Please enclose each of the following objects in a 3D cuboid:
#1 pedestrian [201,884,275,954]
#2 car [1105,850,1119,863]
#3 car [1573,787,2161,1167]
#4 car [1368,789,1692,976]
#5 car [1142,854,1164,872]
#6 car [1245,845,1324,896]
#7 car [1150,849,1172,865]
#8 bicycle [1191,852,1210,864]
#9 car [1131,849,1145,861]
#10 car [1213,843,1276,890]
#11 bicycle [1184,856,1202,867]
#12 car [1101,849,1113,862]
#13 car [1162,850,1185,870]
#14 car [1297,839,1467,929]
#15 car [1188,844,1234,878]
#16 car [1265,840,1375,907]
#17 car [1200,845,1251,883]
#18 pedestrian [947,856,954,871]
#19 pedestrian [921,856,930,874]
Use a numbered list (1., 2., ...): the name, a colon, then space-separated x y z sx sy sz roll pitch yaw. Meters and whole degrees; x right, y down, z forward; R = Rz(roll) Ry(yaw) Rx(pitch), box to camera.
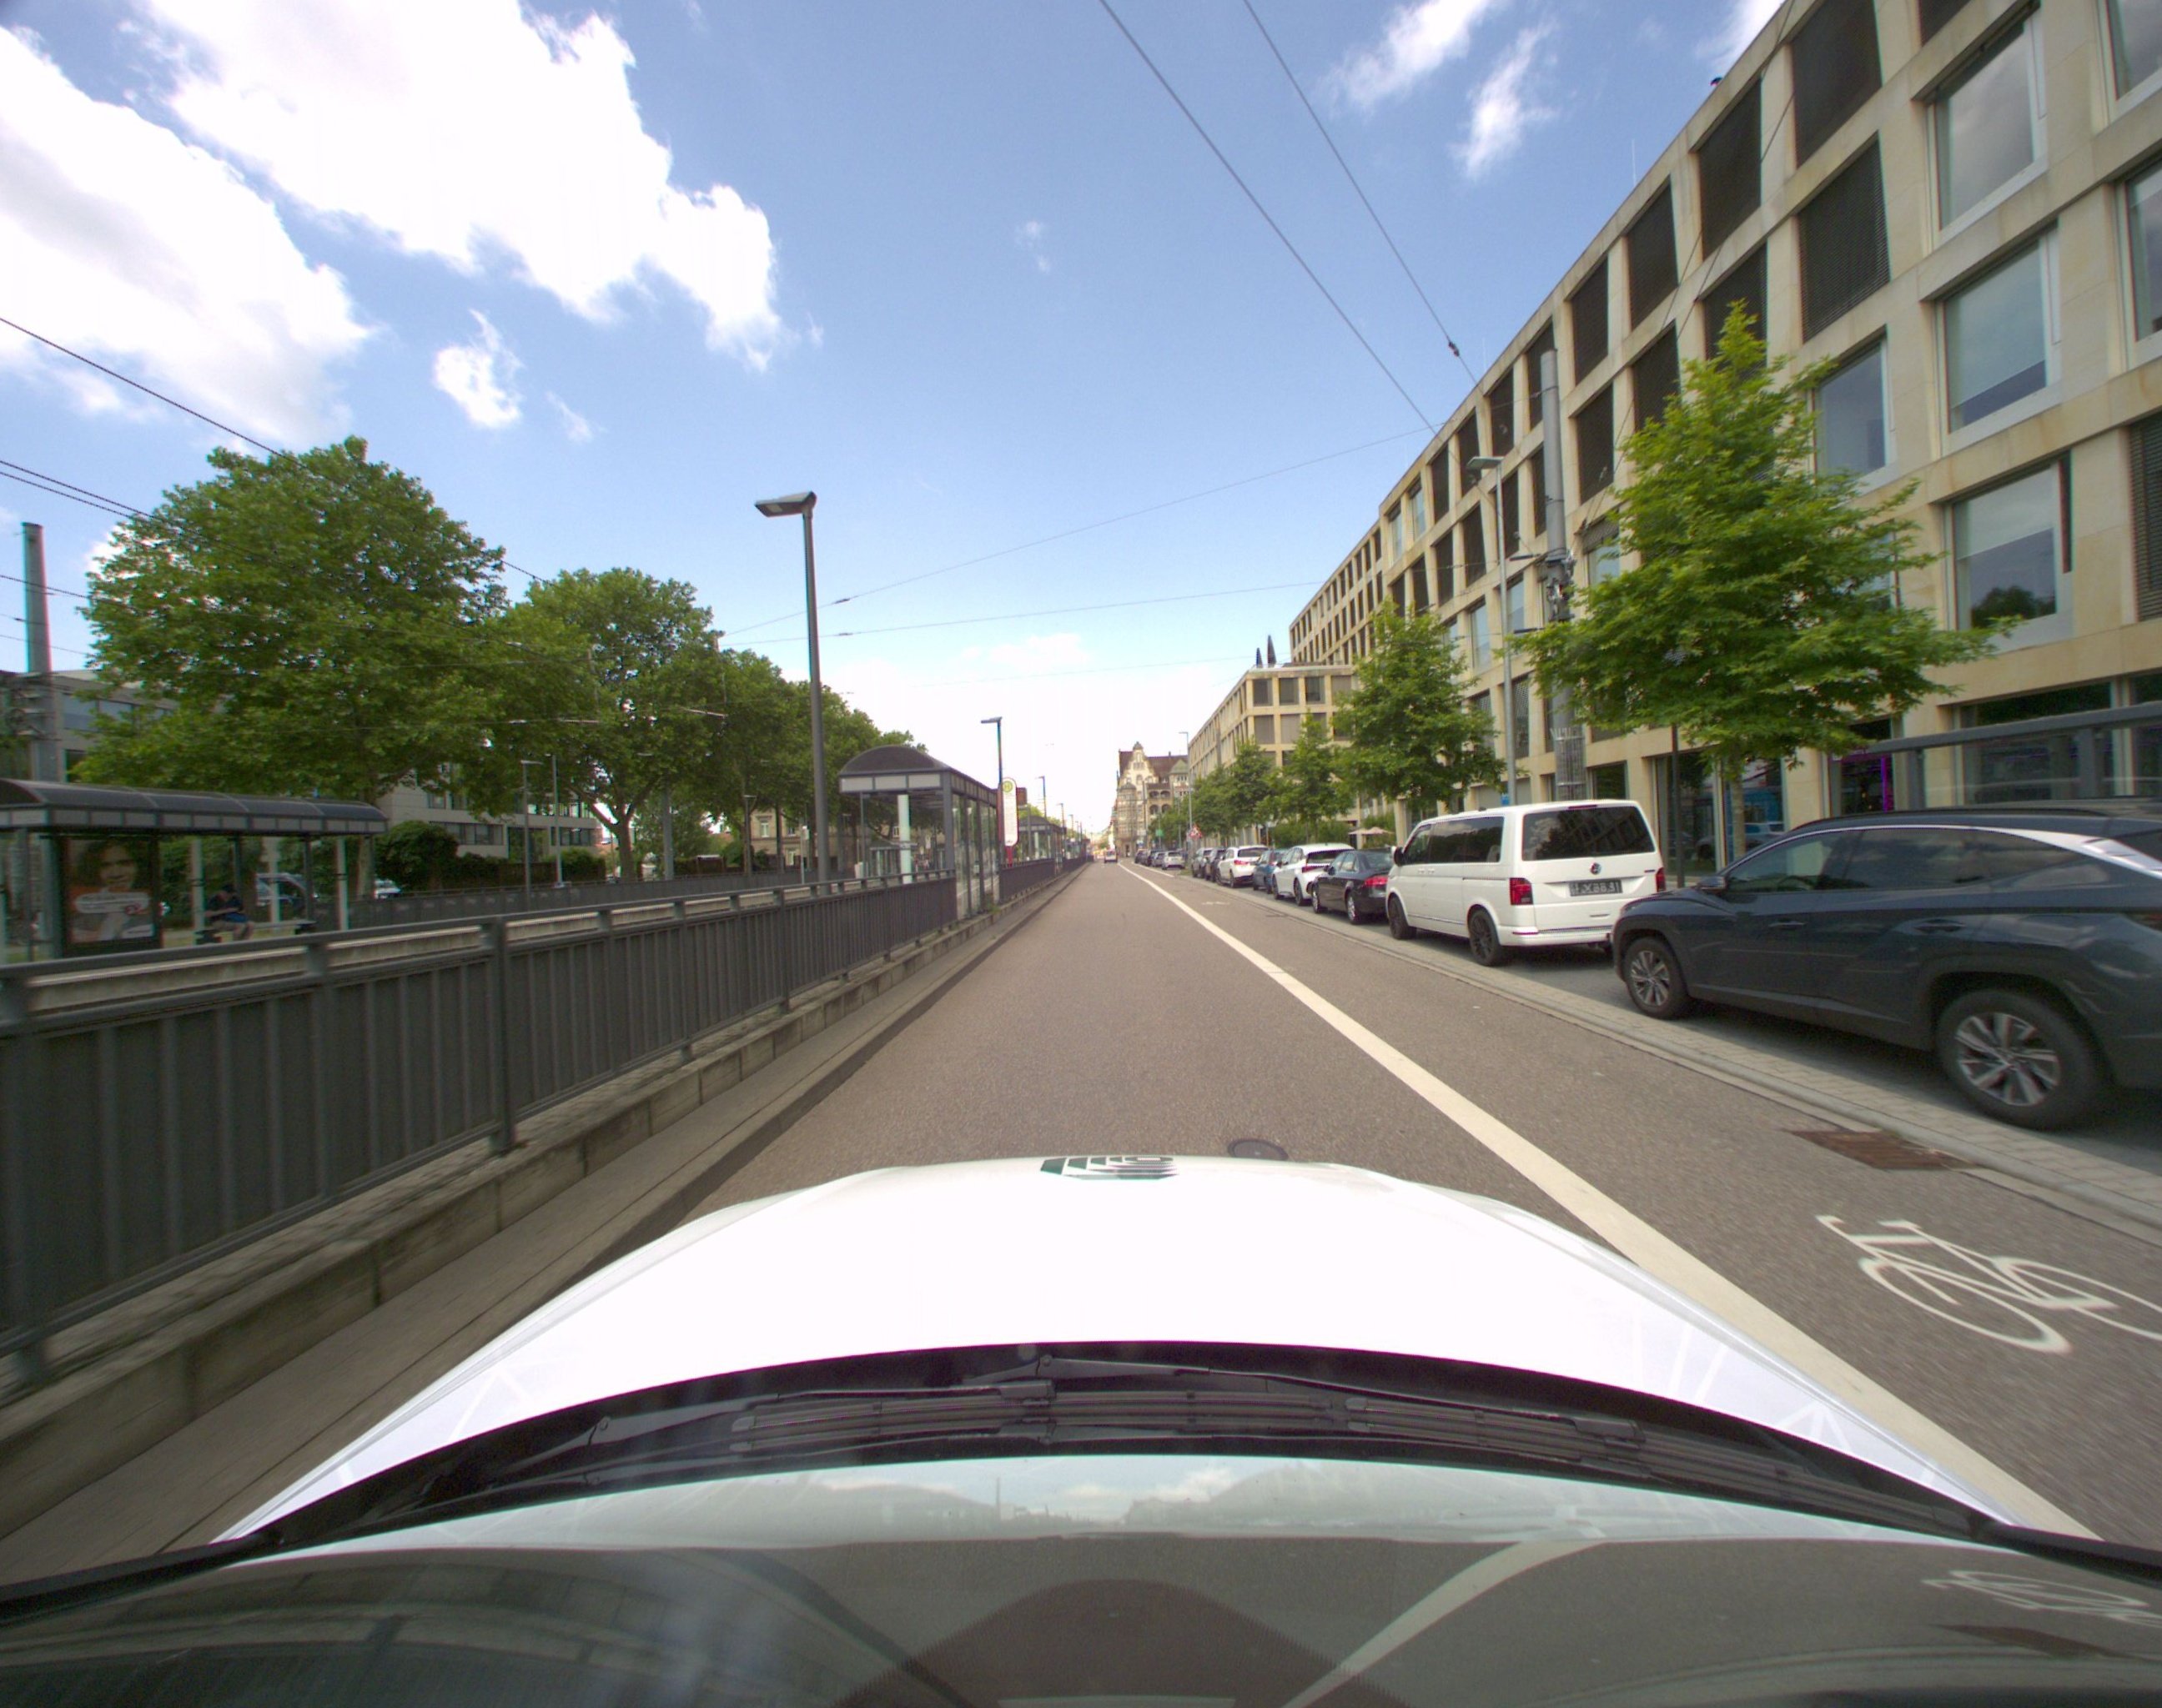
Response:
1. pedestrian: -16.172 1.233 15.637 0.550 1.269 0.768 -3 0 3
2. car: 4.319 0.313 113.322 1.862 1.746 4.001 -2 0 1
3. car: 5.590 0.485 5.578 1.715 1.640 4.529 -4 0 2
4. car: 5.822 0.310 11.437 1.875 1.939 4.845 -4 0 2
5. car: 7.117 0.855 80.933 1.732 1.669 4.840 -1 0 0
6. car: 6.690 0.494 27.158 1.679 1.457 3.952 -4 0 1
7. car: 7.463 0.291 76.357 1.586 1.434 4.106 -1 0 0
8. bicycle: 11.444 0.374 77.931 1.746 0.986 0.326 -3 0 0
9. car: 7.193 0.138 103.041 1.438 1.470 4.092 -1 0 0
10. car: 6.410 0.455 32.420 1.679 1.606 4.153 -4 0 2
11. bicycle: 11.685 0.779 84.776 1.815 1.030 0.585 -3 0 4
12. car: 4.059 0.233 127.892 1.862 2.020 4.001 -2 0 1
13. car: 7.317 0.447 64.852 1.585 1.460 3.615 -1 0 3
14. car: 5.996 0.531 16.866 1.875 1.487 4.565 -4 0 2
15. car: 6.888 0.354 43.441 1.680 1.633 3.989 -5 0 0
16. car: 6.362 0.471 22.146 1.786 1.529 4.160 -4 0 1
17. car: 6.683 0.446 37.901 1.679 1.548 3.928 -4 0 1
18. pedestrian: -13.648 0.984 85.144 0.498 1.558 0.643 -3 0 2
19. pedestrian: -13.674 0.991 71.641 0.701 1.512 0.801 -4 0 -7
